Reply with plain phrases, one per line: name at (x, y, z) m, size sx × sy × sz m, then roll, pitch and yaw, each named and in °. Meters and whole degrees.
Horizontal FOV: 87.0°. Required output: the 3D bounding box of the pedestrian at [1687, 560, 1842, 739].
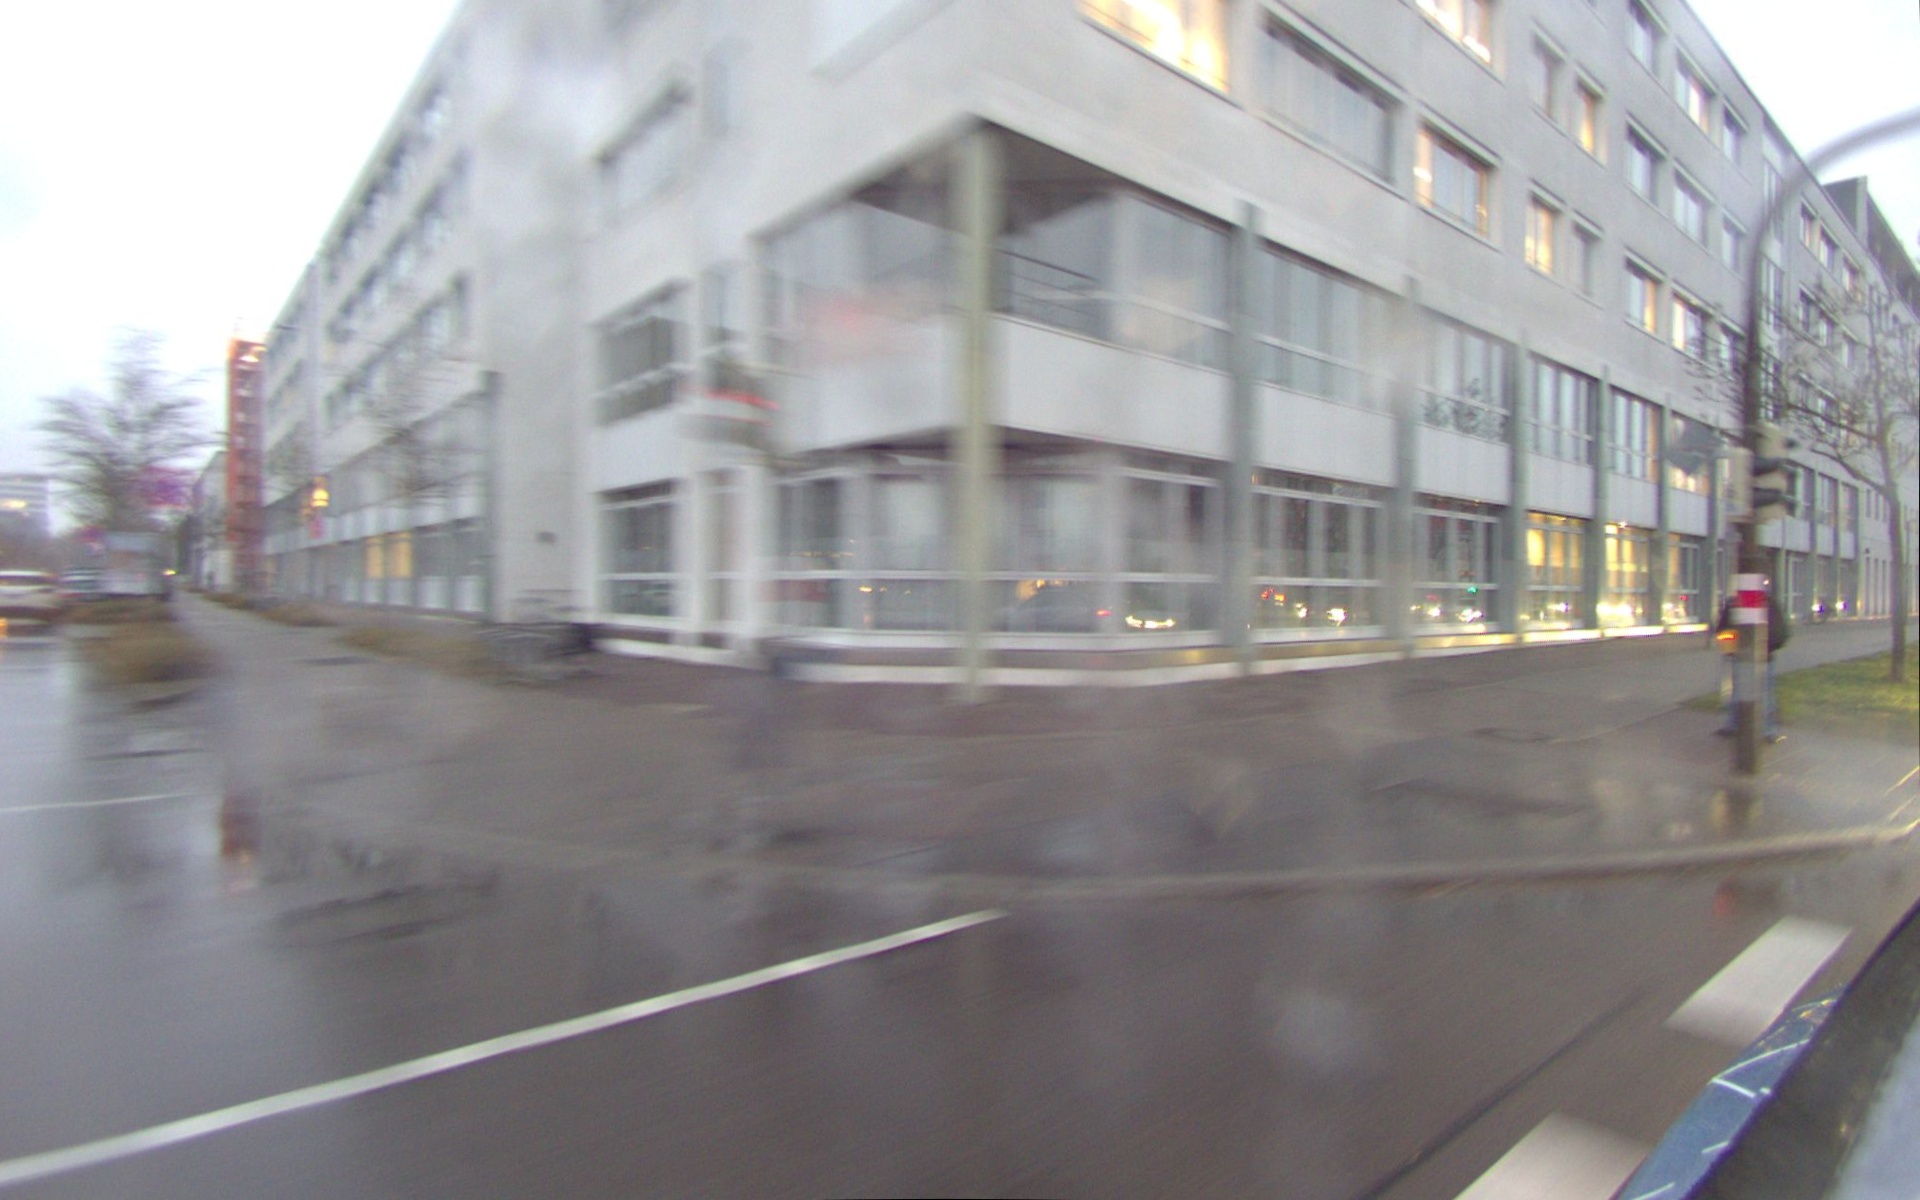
pedestrian at (8.462, 0.502, 10.680) m, size 0.843 × 1.771 × 0.800 m, roll 2°, pitch 3°, yaw -13°

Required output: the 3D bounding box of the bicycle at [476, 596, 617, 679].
bicycle at (-5.943, 0.509, 14.613) m, size 1.842 × 1.118 × 0.471 m, roll 0°, pitch 1°, yaw -41°

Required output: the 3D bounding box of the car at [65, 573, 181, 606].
car at (-38.810, -0.483, 47.014) m, size 4.061 × 1.439 × 1.770 m, roll -2°, pitch 0°, yaw -40°

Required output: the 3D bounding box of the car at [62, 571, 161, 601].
car at (-46.107, -0.789, 55.078) m, size 4.051 × 1.548 × 1.605 m, roll -2°, pitch 0°, yaw -40°

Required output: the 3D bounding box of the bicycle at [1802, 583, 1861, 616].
bicycle at (35.984, -0.027, 41.767) m, size 2.406 × 1.288 × 0.827 m, roll 1°, pitch 3°, yaw -24°

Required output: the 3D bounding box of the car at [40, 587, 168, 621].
car at (-42.243, 0.182, 50.102) m, size 4.725 × 1.575 × 1.771 m, roll -2°, pitch 0°, yaw -38°

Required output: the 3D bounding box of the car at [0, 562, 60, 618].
car at (-29.115, -0.278, 31.066) m, size 3.268 × 1.657 × 1.969 m, roll -1°, pitch 0°, yaw 43°

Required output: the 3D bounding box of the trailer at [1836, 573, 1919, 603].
trailer at (63.432, -0.793, 69.097) m, size 2.089 × 1.936 × 5.084 m, roll 2°, pitch -1°, yaw -34°
